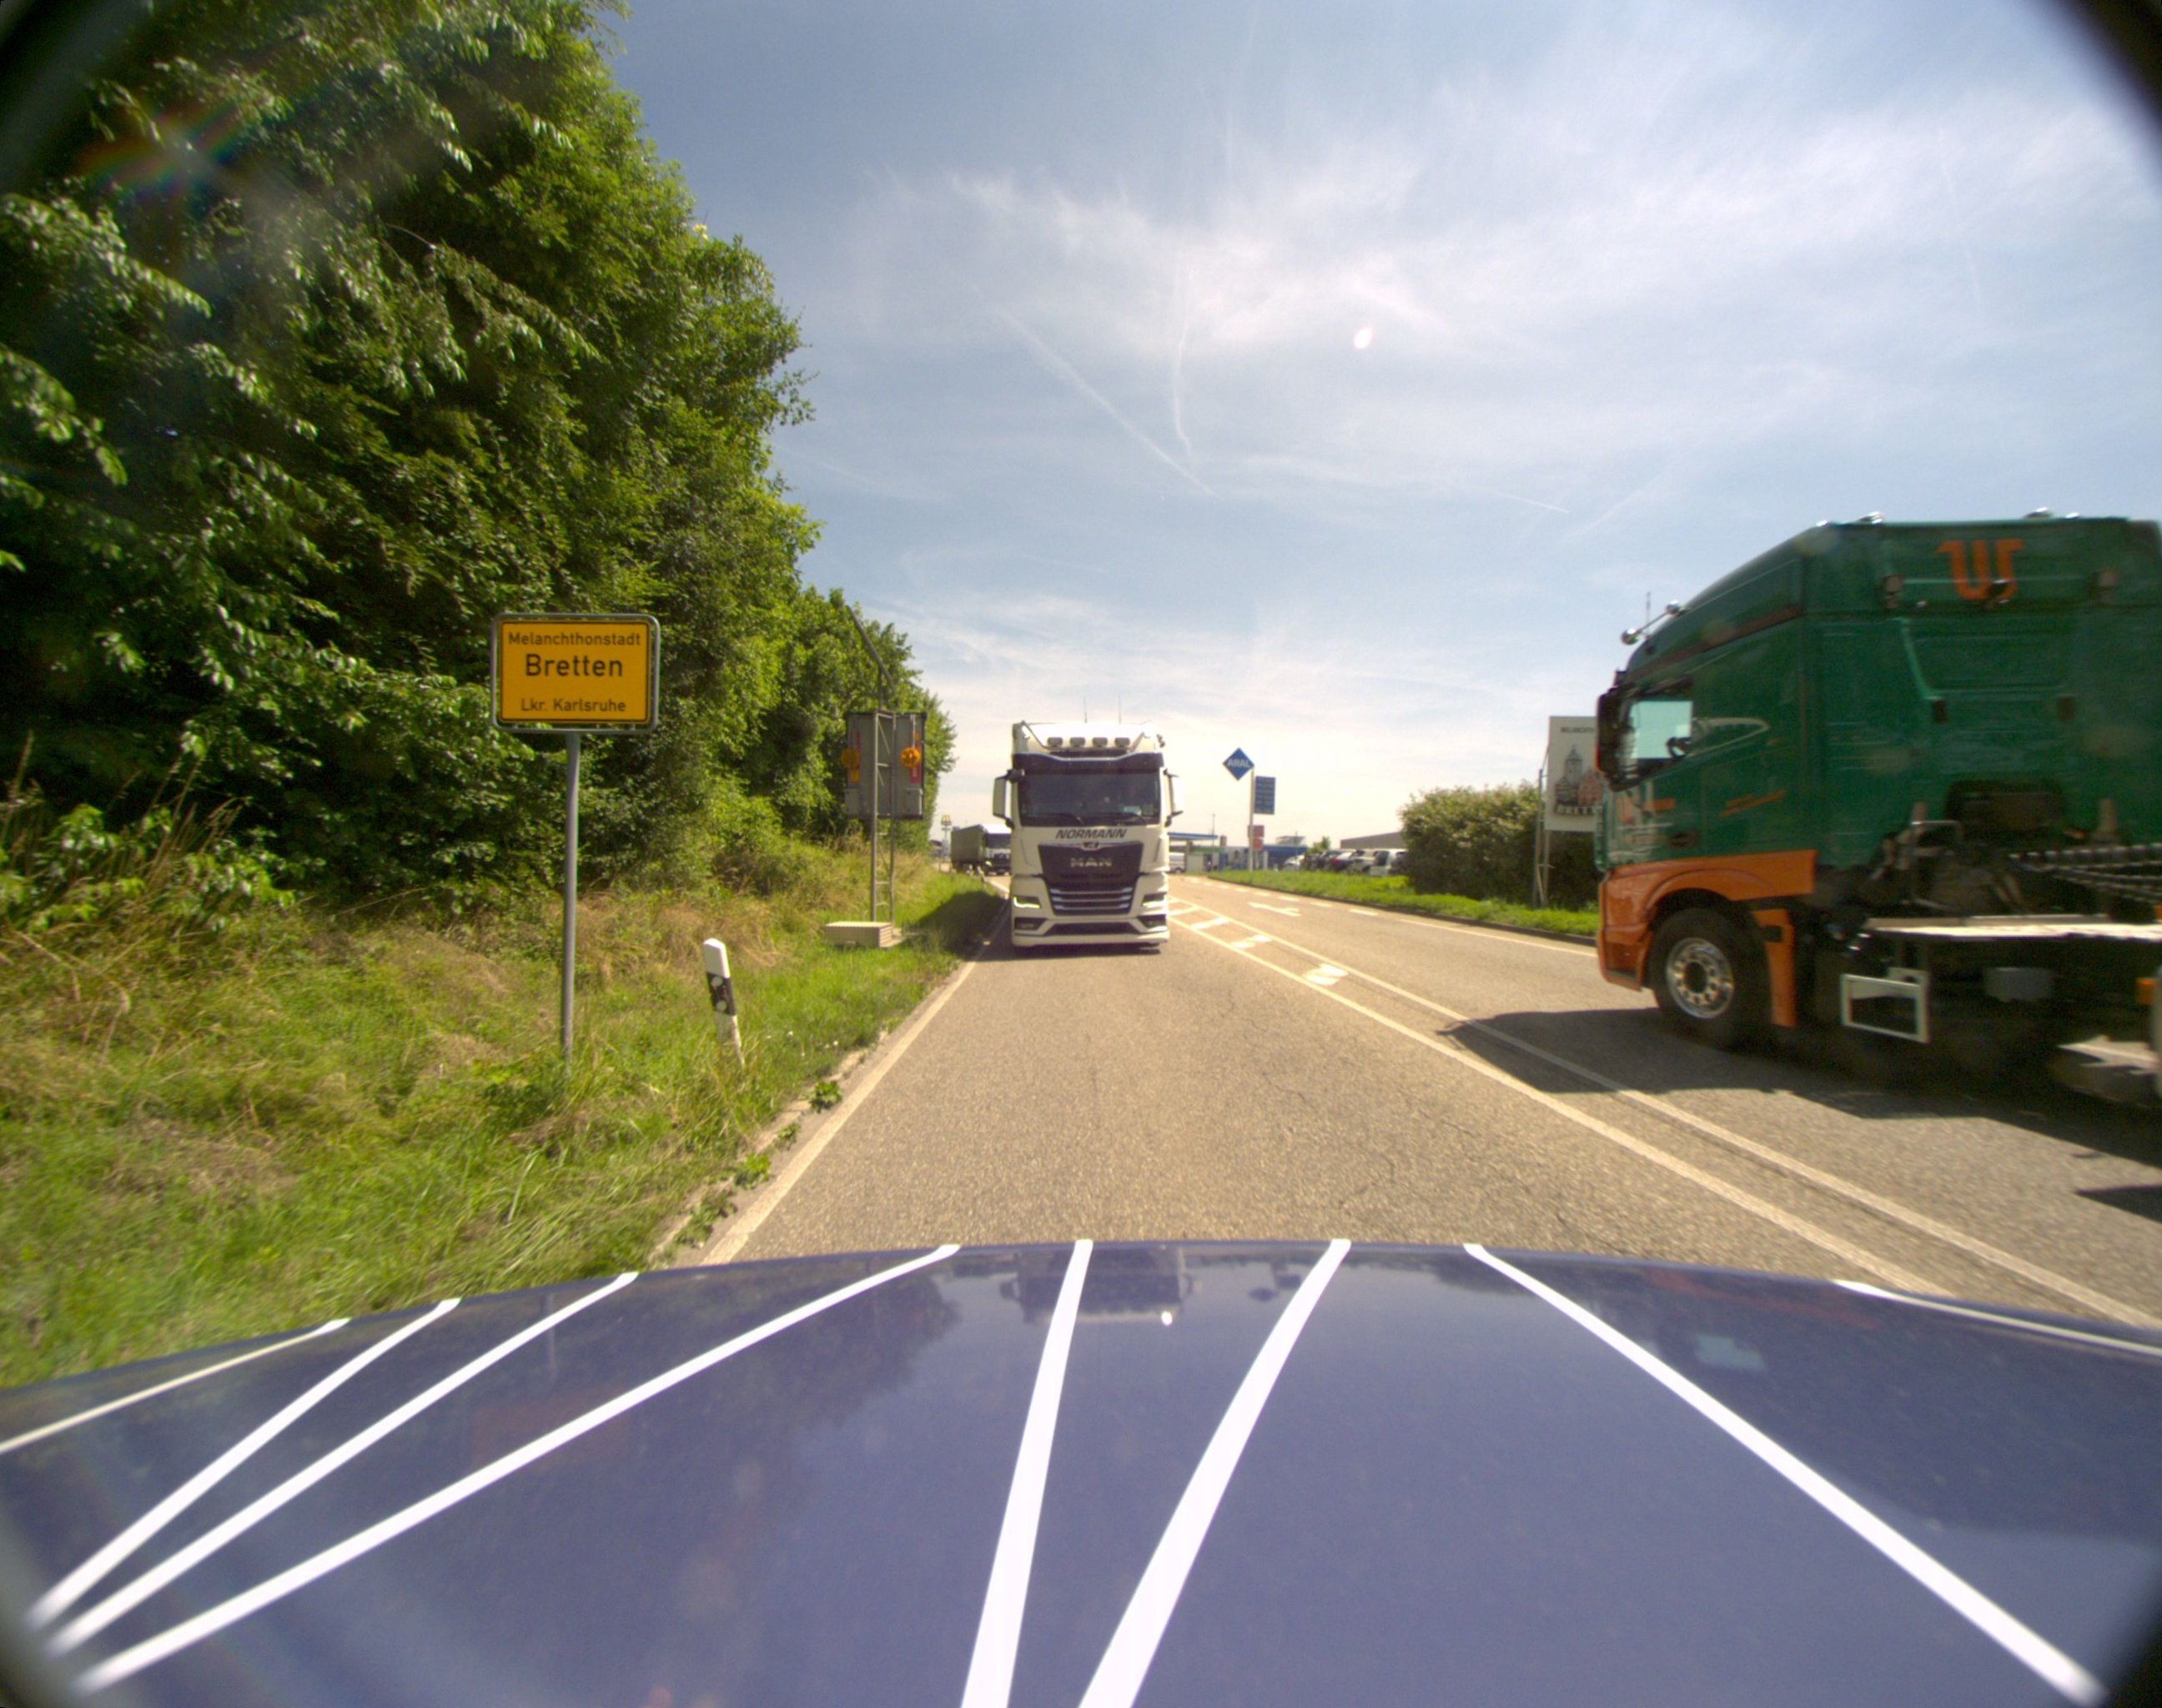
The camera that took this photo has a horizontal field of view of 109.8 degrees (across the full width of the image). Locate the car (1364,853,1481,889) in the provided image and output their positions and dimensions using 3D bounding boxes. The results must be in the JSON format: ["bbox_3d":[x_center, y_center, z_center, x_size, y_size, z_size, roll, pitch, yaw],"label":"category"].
[{"bbox_3d":[14.043,0.678,31.400,3.996,1.309,1.834,2,0,2],"label":"car"}]

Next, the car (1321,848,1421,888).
[{"bbox_3d":[13.800,0.673,36.353,3.995,1.739,2.001,2,0,4],"label":"car"}]

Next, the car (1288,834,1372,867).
[{"bbox_3d":[13.631,-0.204,41.806,3.995,1.740,2.000,0,1,4],"label":"car"}]

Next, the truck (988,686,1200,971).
[{"bbox_3d":[-0.385,-0.602,19.855,2.982,4.071,17.622,-2,2,-4],"label":"truck"}]

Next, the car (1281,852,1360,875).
[{"bbox_3d":[14.634,0.593,46.542,4.246,1.351,2.000,0,0,2],"label":"car"}]

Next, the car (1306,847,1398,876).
[{"bbox_3d":[13.877,0.364,39.092,3.995,1.324,2.001,2,0,4],"label":"car"}]

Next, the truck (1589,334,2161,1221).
[{"bbox_3d":[5.749,-0.329,2.817,2.585,3.658,7.875,-2,0,2],"label":"truck"}]

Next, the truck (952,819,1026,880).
[{"bbox_3d":[-8.236,-0.495,65.045,2.985,4.447,16.423,-2,2,-18],"label":"truck"}]

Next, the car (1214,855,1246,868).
[{"bbox_3d":[19.611,1.005,100.033,3.991,1.598,1.949,2,0,16],"label":"car"}]

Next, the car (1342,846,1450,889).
[{"bbox_3d":[14.040,0.579,34.071,3.995,1.739,2.001,2,0,4],"label":"car"}]

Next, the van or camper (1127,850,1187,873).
[{"bbox_3d":[6.593,0.644,66.120,4.868,1.893,1.901,0,-1,-21],"label":"van or camper"}]

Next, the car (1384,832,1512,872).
[{"bbox_3d":[13.948,-0.077,29.066,3.996,1.354,1.820,2,0,1],"label":"car"}]
